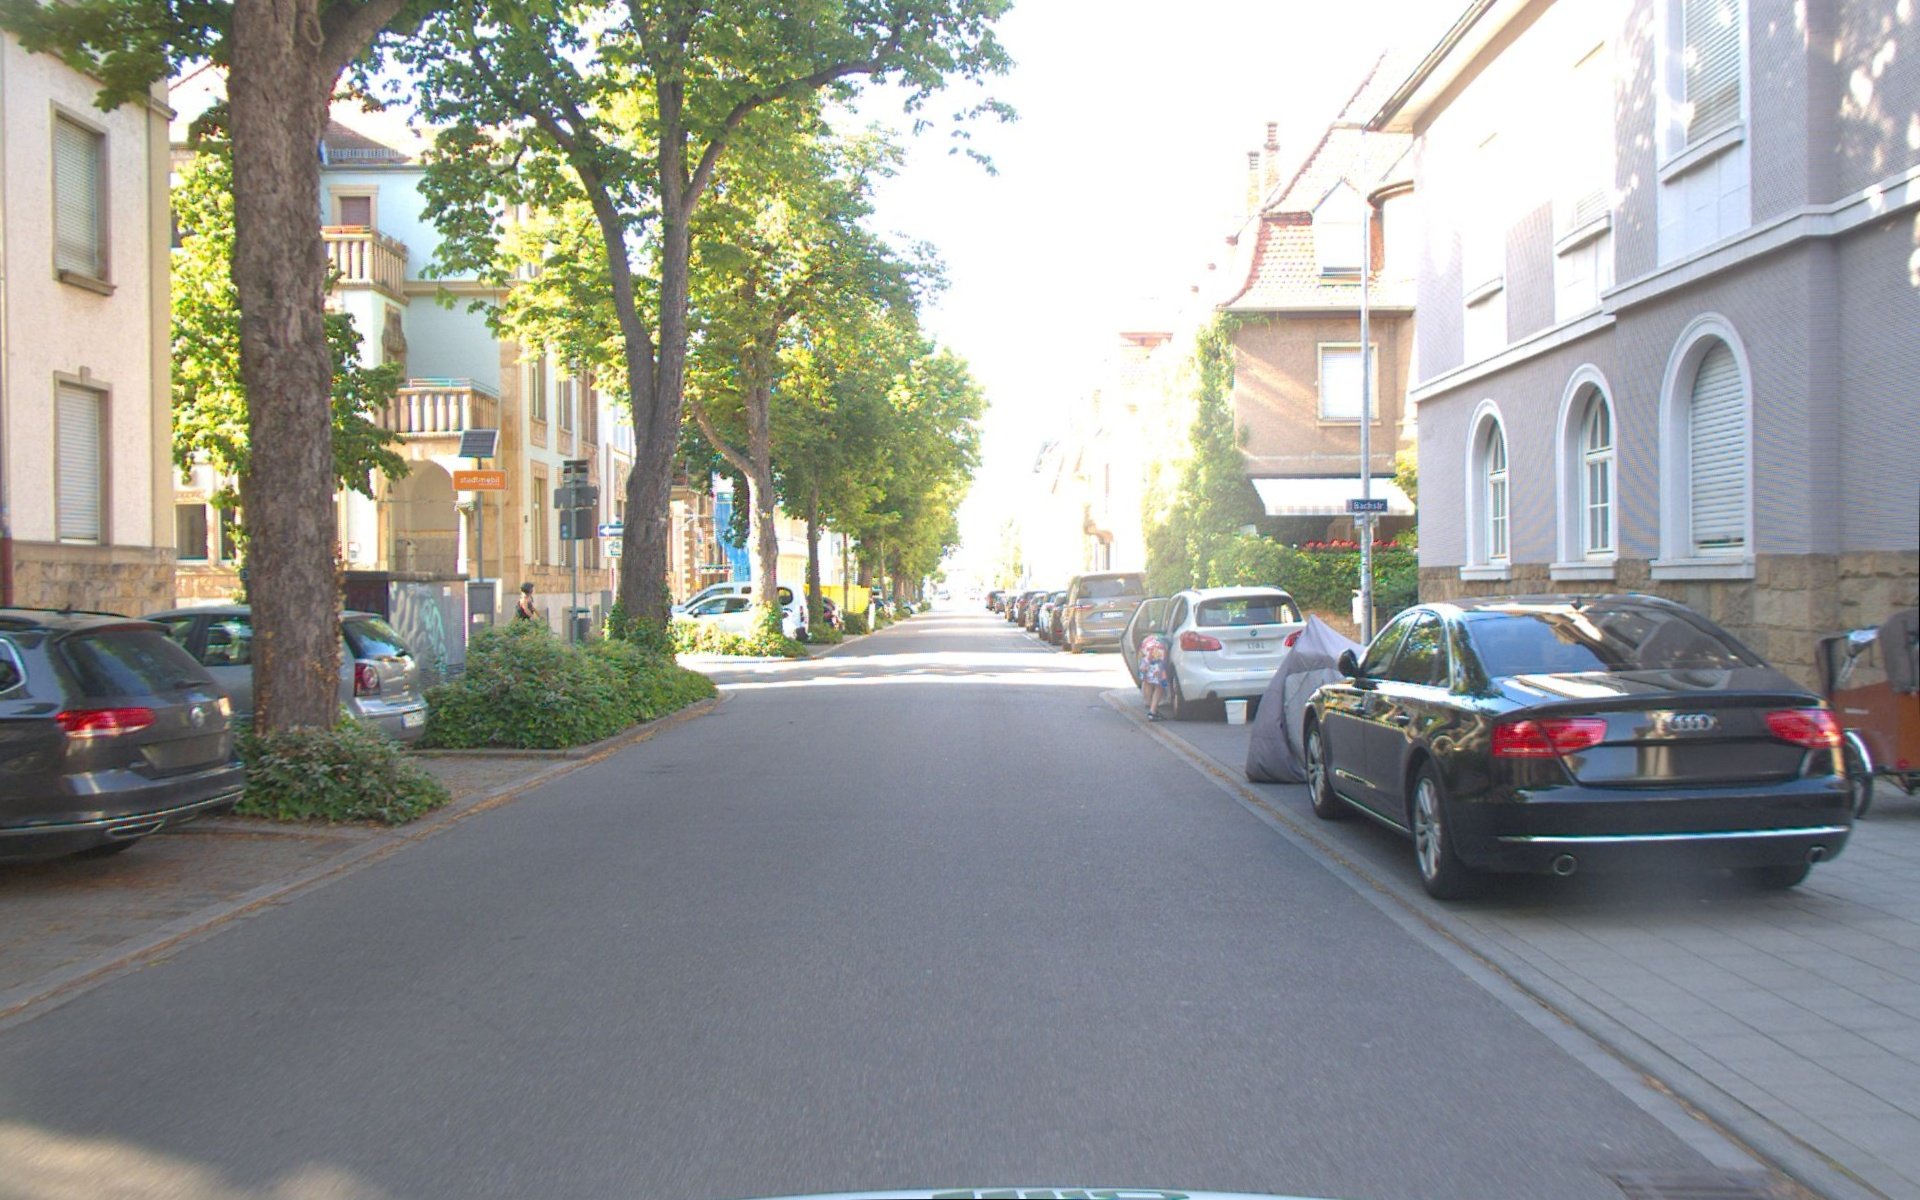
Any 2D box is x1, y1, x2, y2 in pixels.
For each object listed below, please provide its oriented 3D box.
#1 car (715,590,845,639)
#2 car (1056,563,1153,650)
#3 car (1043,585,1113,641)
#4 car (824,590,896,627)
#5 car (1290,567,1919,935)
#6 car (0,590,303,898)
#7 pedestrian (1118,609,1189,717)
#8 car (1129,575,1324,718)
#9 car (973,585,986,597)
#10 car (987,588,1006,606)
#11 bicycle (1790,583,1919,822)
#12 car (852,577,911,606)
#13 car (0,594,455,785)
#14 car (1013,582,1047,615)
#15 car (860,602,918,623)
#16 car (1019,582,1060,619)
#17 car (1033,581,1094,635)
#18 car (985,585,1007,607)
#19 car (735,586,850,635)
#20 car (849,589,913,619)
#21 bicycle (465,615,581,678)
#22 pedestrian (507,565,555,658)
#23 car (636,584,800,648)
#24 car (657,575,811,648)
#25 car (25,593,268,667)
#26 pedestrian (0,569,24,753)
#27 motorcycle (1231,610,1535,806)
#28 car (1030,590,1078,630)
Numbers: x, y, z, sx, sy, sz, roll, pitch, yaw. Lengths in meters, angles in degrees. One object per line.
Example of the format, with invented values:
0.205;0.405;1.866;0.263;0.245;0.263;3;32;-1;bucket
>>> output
-5.757;0.449;53.177;3.904;1.495;1.864;-1;1;2;car
3.501;0.126;40.736;1.866;1.903;4.673;-4;1;0;car
3.350;0.338;47.397;1.656;1.423;3.805;-4;1;0;car
-5.730;0.480;94.555;3.912;2.049;1.996;-1;0;-8;car
3.250;0.635;9.468;1.816;1.519;4.608;-2;0;1;car
-6.240;0.722;9.145;4.440;1.529;1.891;0;0;-2;car
2.386;0.768;20.483;0.710;1.279;0.645;-2;0;-7;pedestrian
3.314;0.525;21.339;1.665;1.566;4.154;-3;0;-2;car
2.755;-1.243;229.308;1.734;1.660;3.867;-1;1;1;car
3.481;-0.271;158.497;1.734;1.660;3.867;-1;1;1;car
6.080;0.589;9.883;1.060;1.361;2.250;-2;0;-1;bicycle
-5.456;-0.575;115.276;3.923;1.873;2.001;2;1;2;car
-6.378;0.718;14.152;3.599;1.513;1.641;0;0;-1;car
3.701;-0.096;88.029;1.734;1.660;3.867;-1;1;1;car
-5.183;0.917;121.301;3.904;1.434;1.702;-1;0;19;car
3.610;0.002;75.556;1.734;1.660;3.867;-1;1;1;car
3.289;0.236;53.115;1.752;1.646;3.867;-1;1;1;car
2.821;-0.304;129.966;1.734;1.660;3.867;-1;1;1;car
-5.883;0.350;57.749;3.912;1.579;1.834;-1;1;-8;car
-5.057;0.268;105.989;3.923;1.765;1.895;2;1;2;car
-8.282;0.870;31.414;1.949;1.084;0.760;-2;1;4;bicycle
-8.140;0.205;31.401;0.617;1.724;0.653;-2;1;4;pedestrian
-6.049;0.406;41.687;3.908;1.490;1.796;1;-1;-4;car
-5.970;0.301;44.023;3.908;1.791;1.796;1;0;-4;car
-17.403;0.632;35.519;4.315;1.490;1.802;-1;0;1;car
-9.123;0.561;15.143;0.619;1.688;0.832;0;0;0;pedestrian
3.359;0.805;13.259;2.159;1.362;0.917;2;1;39;motorcycle
3.631;0.363;64.290;1.734;1.480;3.867;-1;1;1;car
